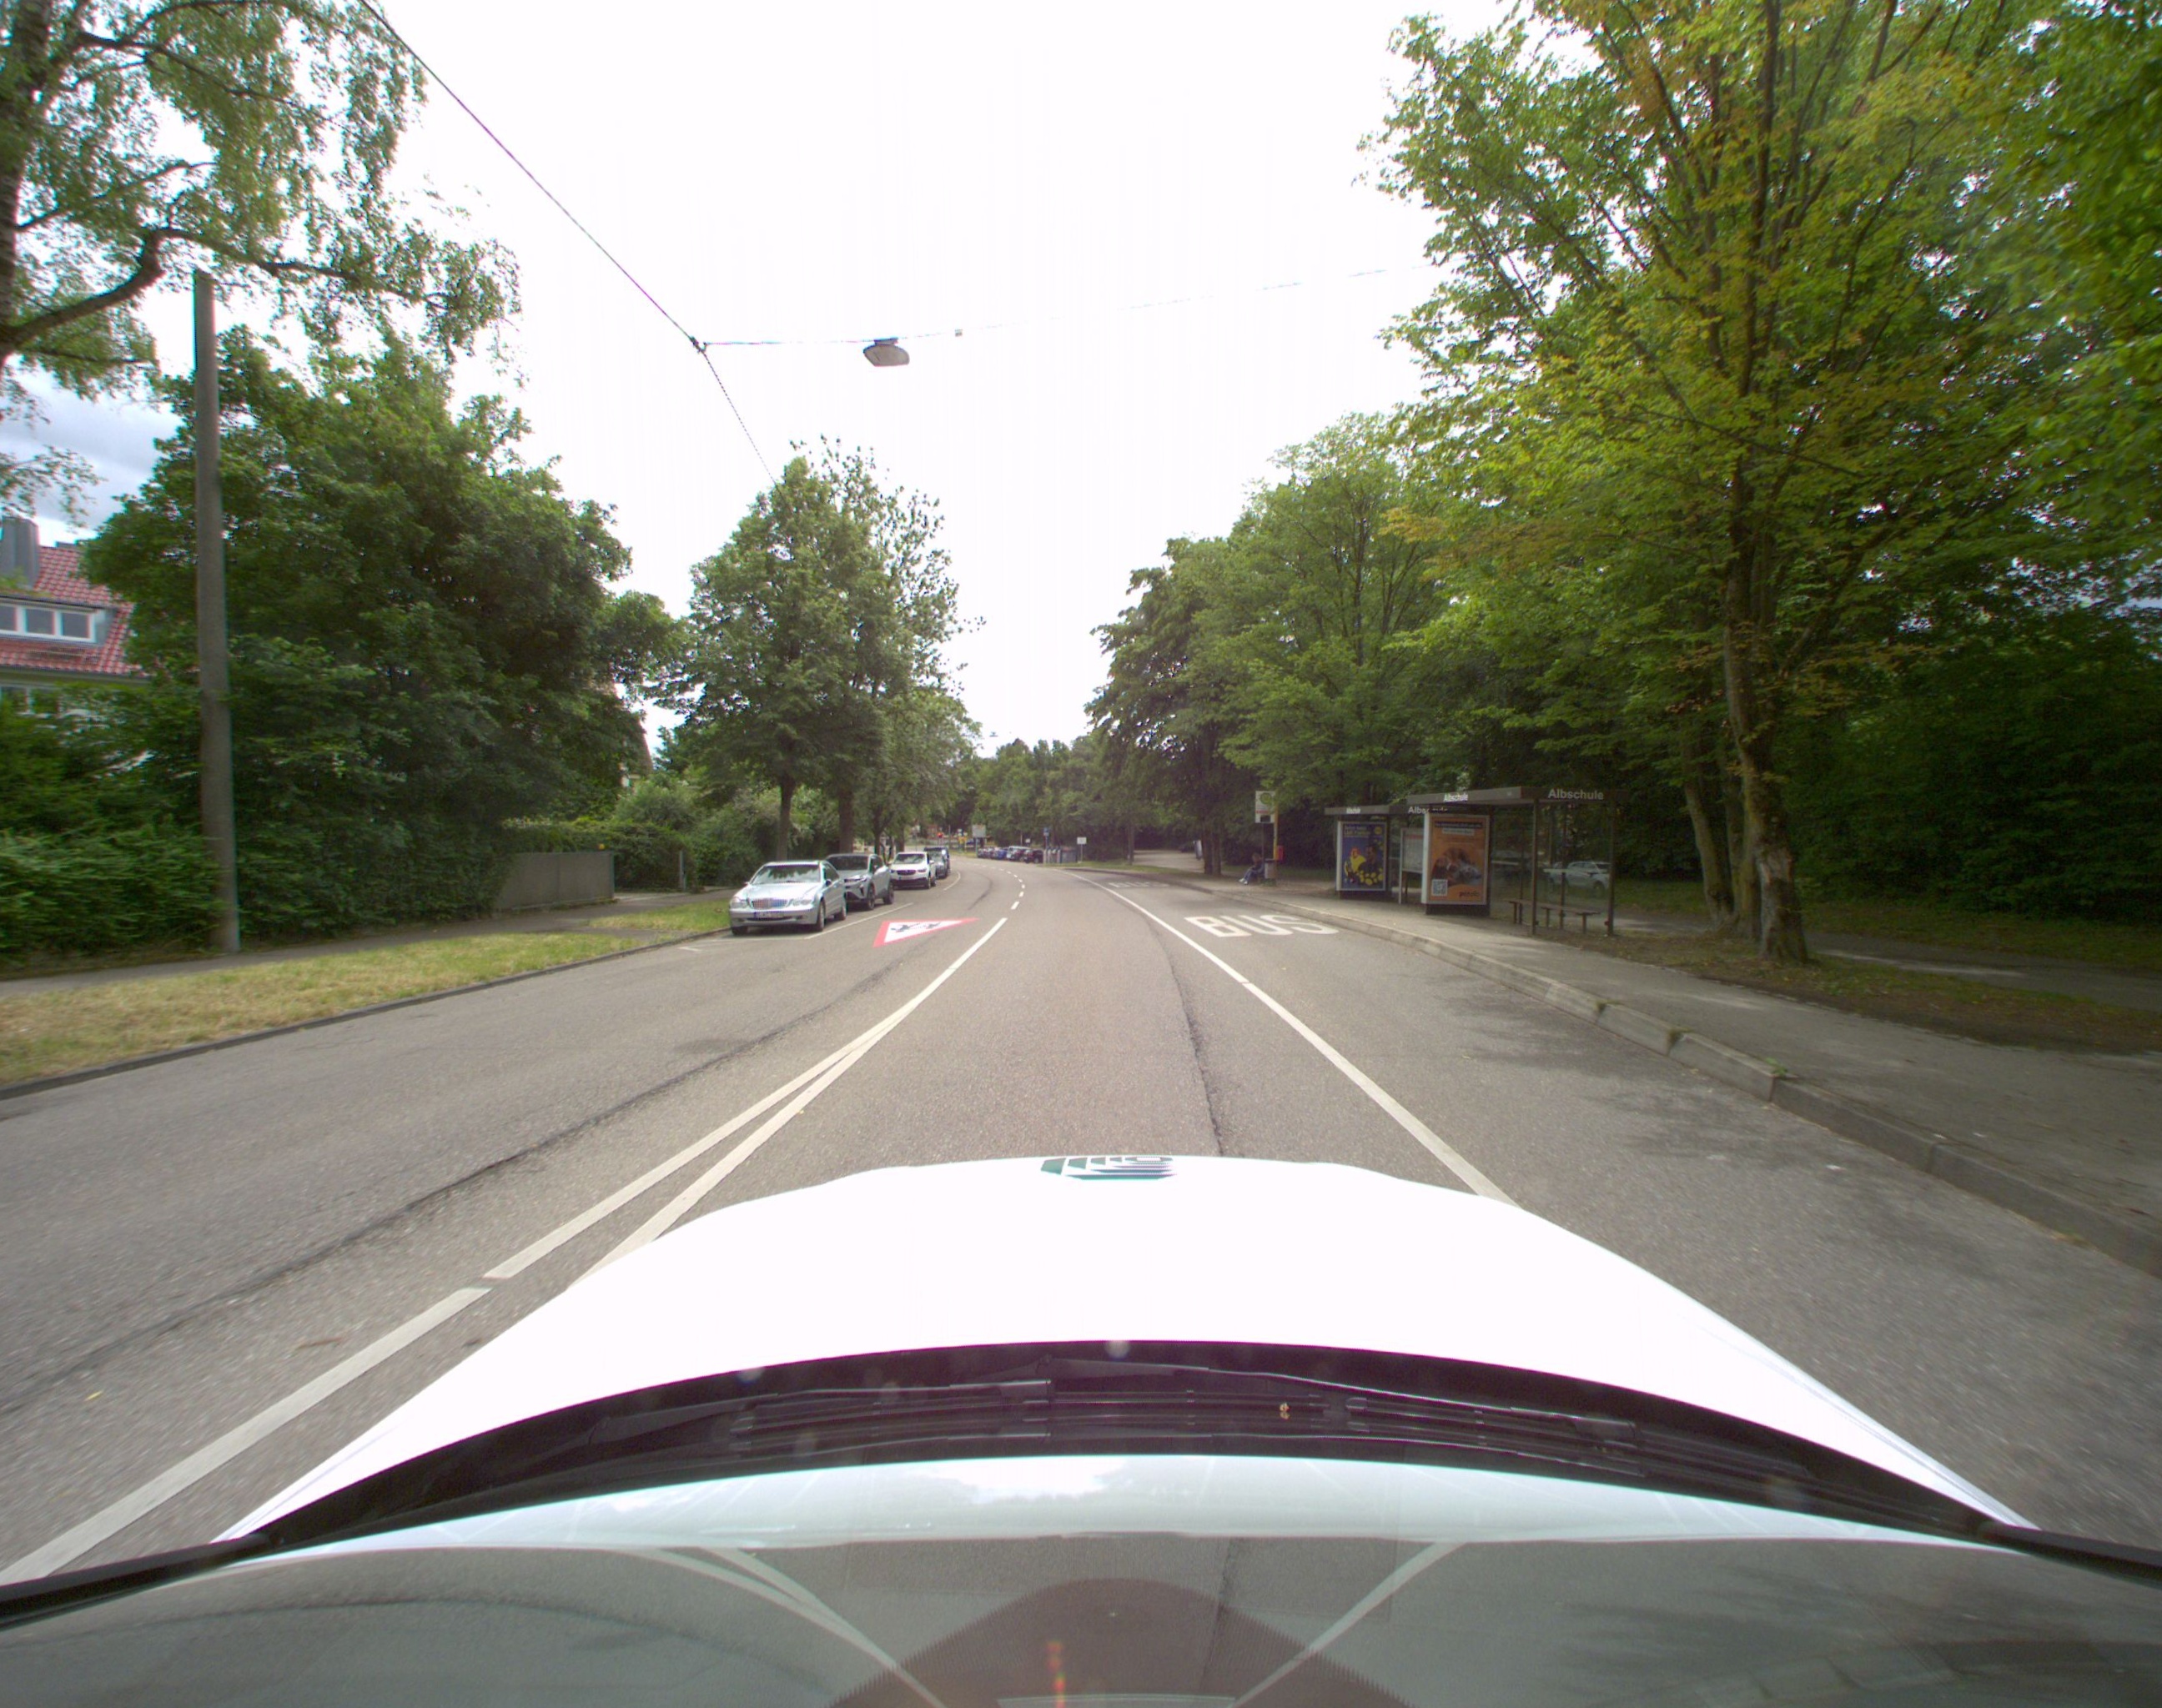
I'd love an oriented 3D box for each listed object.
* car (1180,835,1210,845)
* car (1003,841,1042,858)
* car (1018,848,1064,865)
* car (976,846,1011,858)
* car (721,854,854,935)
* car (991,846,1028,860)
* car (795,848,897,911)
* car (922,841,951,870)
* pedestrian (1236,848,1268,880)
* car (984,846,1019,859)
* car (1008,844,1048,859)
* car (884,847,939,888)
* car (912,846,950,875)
[{"bbox_3d":[17.024,-2.079,121.570,3.987,1.409,1.794,-1,1,-10],"label":"car"},{"bbox_3d":[-6.503,-0.459,90.190,3.847,1.720,1.858,2,0,-35],"label":"car"},{"bbox_3d":[-3.875,0.264,79.383,4.016,1.414,2.036,2,1,-35],"label":"car"},{"bbox_3d":[-10.978,-0.277,102.144,3.901,1.426,1.810,2,-1,-35],"label":"car"},{"bbox_3d":[-6.163,0.762,17.607,1.734,1.416,4.461,-2,1,-7],"label":"car"},{"bbox_3d":[-8.276,-0.143,94.540,3.847,1.528,1.728,2,-1,-35],"label":"car"},{"bbox_3d":[-6.557,0.656,23.223,1.731,1.538,4.187,-1,1,-1],"label":"car"},{"bbox_3d":[-10.026,0.036,56.622,1.858,1.909,5.067,-1,1,-9],"label":"car"},{"bbox_3d":[6.528,0.377,31.080,1.062,1.182,0.579,-1,1,-7],"label":"pedestrian"},{"bbox_3d":[-9.678,-0.161,99.288,3.847,1.528,1.728,2,-1,-35],"label":"car"},{"bbox_3d":[-5.697,-0.233,87.444,3.847,1.468,1.728,2,1,-35],"label":"car"},{"bbox_3d":[-7.236,0.509,35.051,1.732,1.578,4.135,-2,1,-4],"label":"car"},{"bbox_3d":[-8.527,0.337,46.646,1.865,1.538,4.216,-1,1,-7],"label":"car"}]
